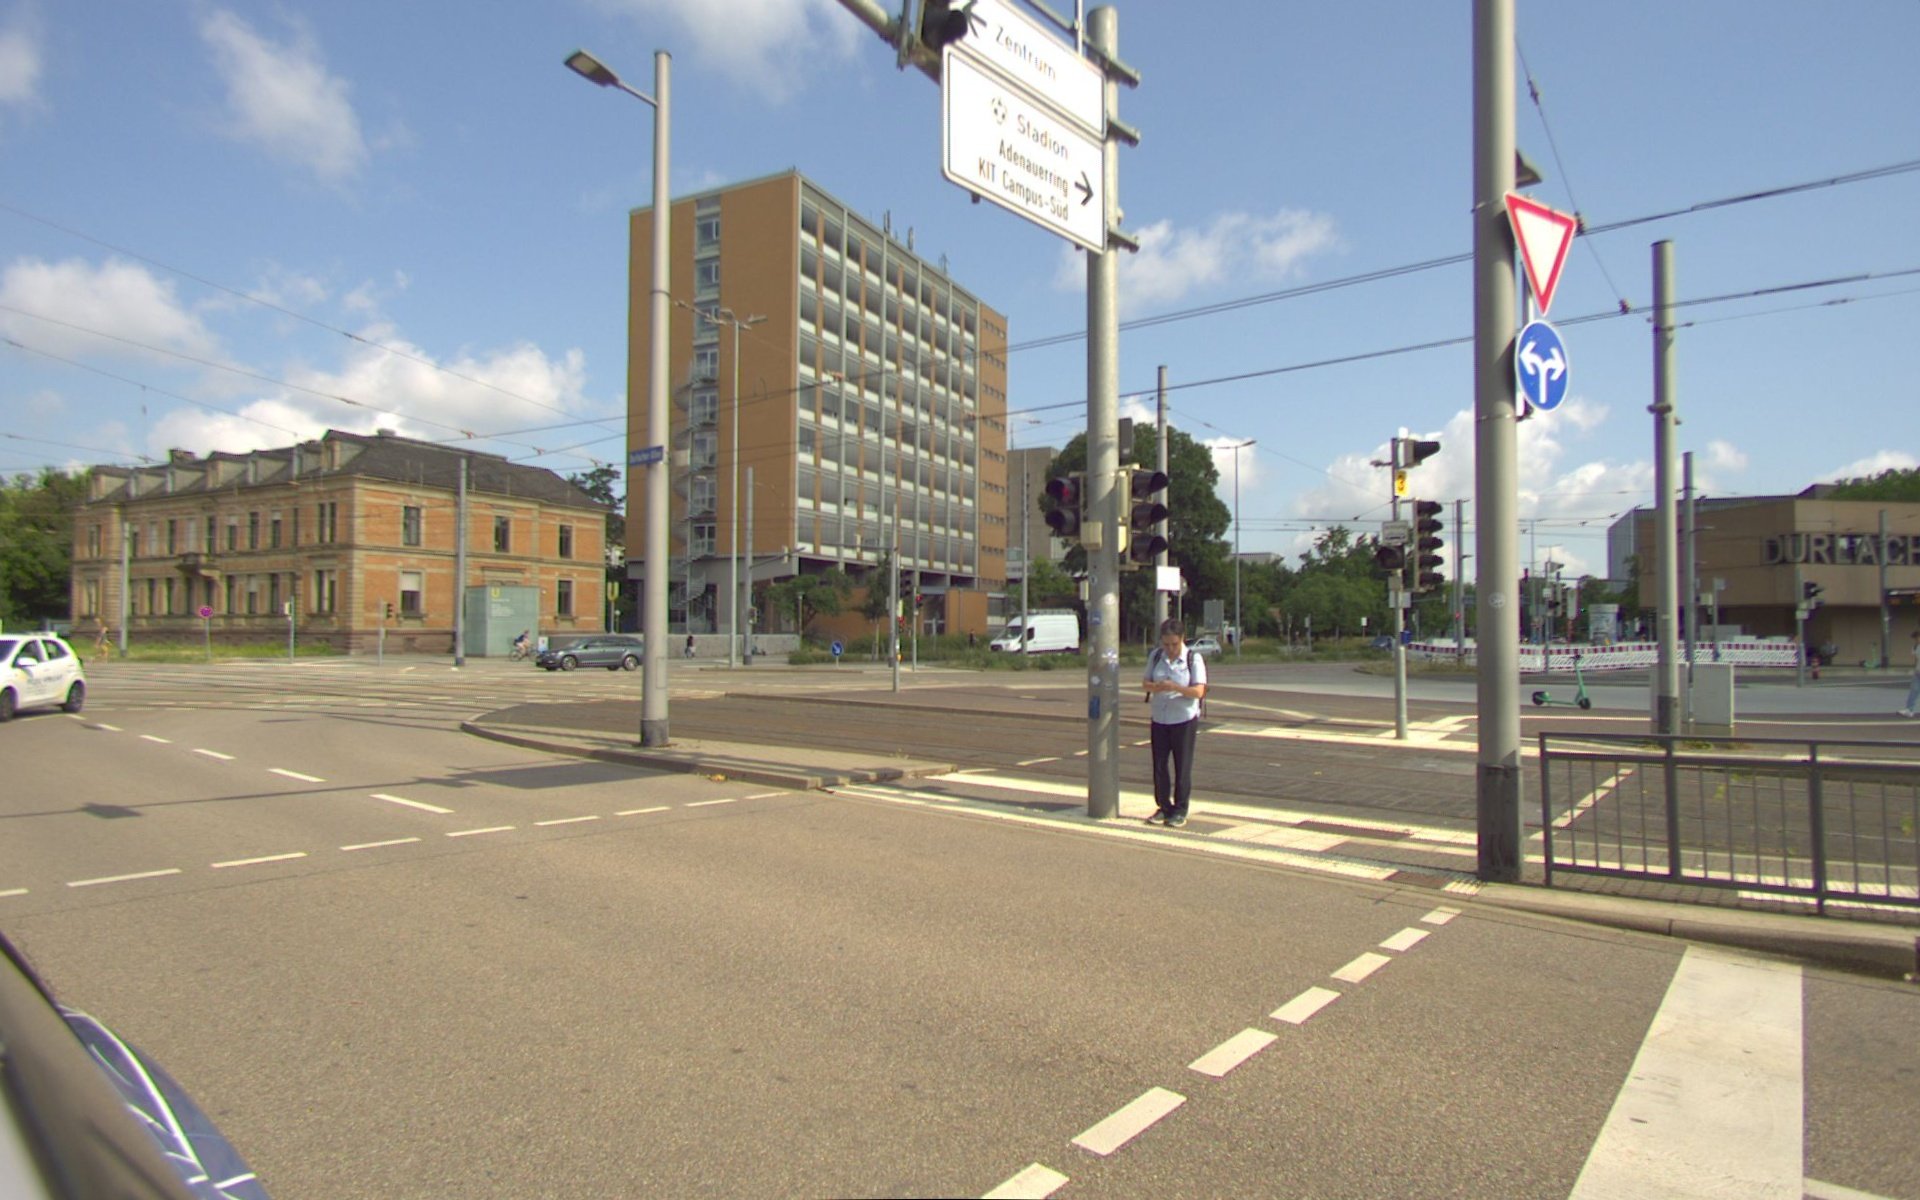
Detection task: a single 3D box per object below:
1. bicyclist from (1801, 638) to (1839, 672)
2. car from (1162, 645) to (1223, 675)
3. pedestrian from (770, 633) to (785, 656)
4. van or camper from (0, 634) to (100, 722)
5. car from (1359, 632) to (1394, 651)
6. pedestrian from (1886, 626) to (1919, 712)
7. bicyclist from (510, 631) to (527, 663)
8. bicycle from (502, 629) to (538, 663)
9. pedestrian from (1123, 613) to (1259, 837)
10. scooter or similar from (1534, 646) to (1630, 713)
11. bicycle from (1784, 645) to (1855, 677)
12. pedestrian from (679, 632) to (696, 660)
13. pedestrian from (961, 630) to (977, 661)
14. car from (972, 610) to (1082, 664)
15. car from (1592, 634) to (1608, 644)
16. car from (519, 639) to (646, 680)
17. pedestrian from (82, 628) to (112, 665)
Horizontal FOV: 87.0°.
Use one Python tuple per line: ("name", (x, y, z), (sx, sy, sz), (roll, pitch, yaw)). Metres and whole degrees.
("bicyclist", (32.152, 2.065, 37.841), (0.727, 1.161, 0.698), (4, 2, -8))
("car", (16.362, 4.187, 71.197), (4.074, 1.785, 2.004), (0, 3, -38))
("pedestrian", (-12.603, 3.083, 69.959), (0.924, 1.600, 0.766), (0, -2, -4))
("van or camper", (-17.302, 1.356, 17.964), (1.600, 1.487, 4.012), (0, -2, -17))
("car", (40.080, 3.984, 97.367), (1.871, 1.603, 3.613), (4, 3, 44))
("pedestrian", (19.809, 1.396, 20.572), (1.080, 1.702, 0.931), (-1, -1, -9))
("bicyclist", (-23.819, 2.523, 54.649), (0.647, 1.683, 0.573), (0, -2, 3))
("bicycle", (-23.757, 2.474, 54.648), (1.615, 1.791, 0.731), (0, -2, 3))
("pedestrian", (1.887, 0.959, 8.229), (0.794, 1.686, 0.834), (-1, -3, 38))
("scooter or similar", (13.323, 1.663, 21.678), (1.494, 1.198, 1.320), (4, 3, 42))
("bicycle", (32.132, 2.277, 37.839), (2.037, 1.000, 0.814), (4, 2, -8))
("pedestrian", (-16.130, 2.722, 59.988), (0.752, 1.600, 0.775), (1, -2, -34))
("pedestrian", (0.631, 3.159, 70.115), (0.794, 2.028, 0.727), (2, 6, -16))
("car", (3.802, 2.060, 56.709), (6.049, 2.901, 2.491), (2, -3, -38))
("car", (105.122, 6.363, 166.231), (1.996, 1.581, 4.724), (-1, -2, 36))
("car", (-15.442, 2.381, 41.525), (4.475, 1.290, 2.003), (0, 3, -42))
("pedestrian", (-41.795, 2.254, 49.009), (0.853, 1.750, 0.779), (-1, -2, 20))
